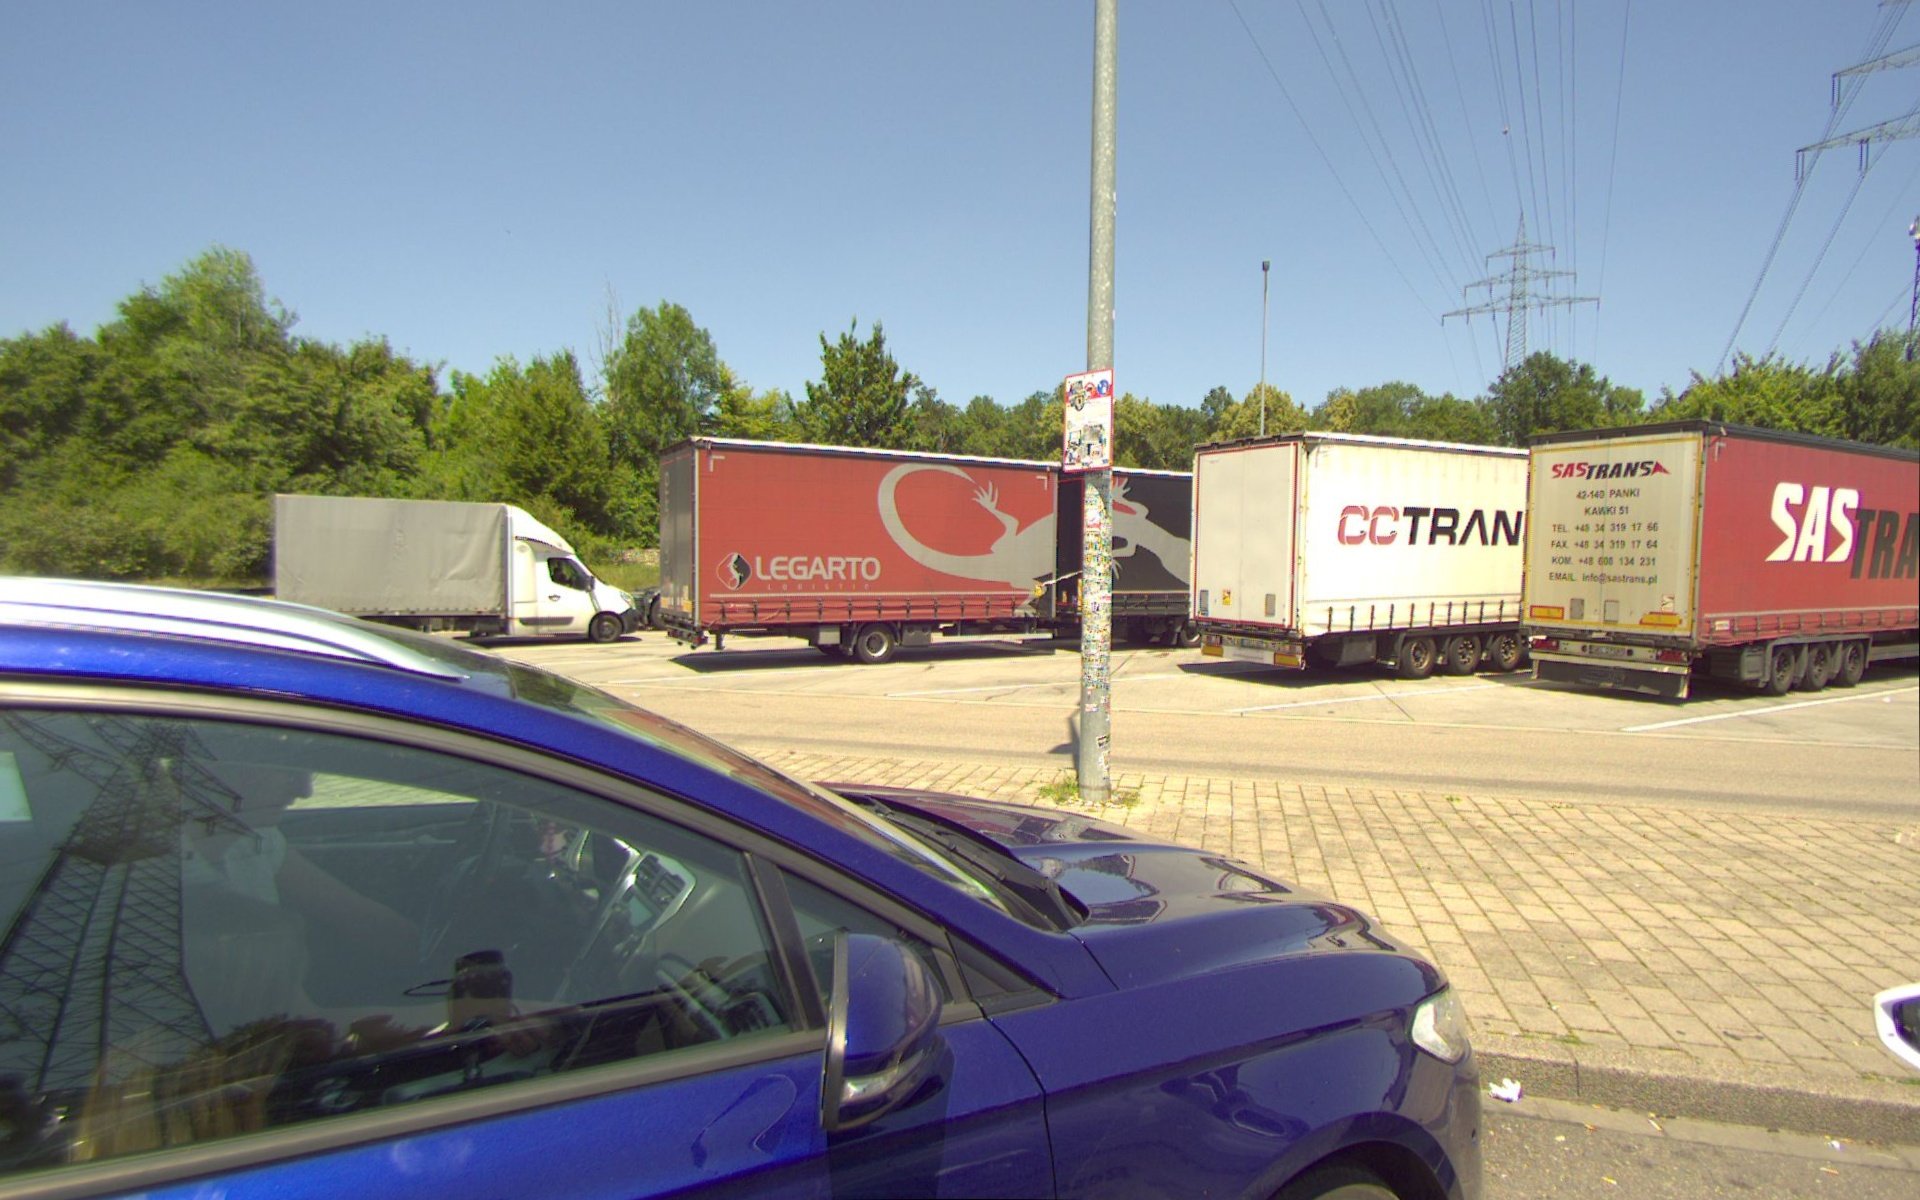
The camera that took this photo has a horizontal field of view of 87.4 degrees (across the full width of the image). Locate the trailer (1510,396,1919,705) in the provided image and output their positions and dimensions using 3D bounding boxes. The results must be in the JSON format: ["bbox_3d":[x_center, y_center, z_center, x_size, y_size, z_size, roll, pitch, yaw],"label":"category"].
[{"bbox_3d":[15.266,-0.651,18.423,13.046,4.276,2.786,0,0,-31],"label":"trailer"}]

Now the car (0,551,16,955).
[{"bbox_3d":[-4.338,0.511,2.188,3.077,1.378,1.334,1,0,-30],"label":"car"}]

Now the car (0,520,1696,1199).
[{"bbox_3d":[-0.975,0.661,1.472,4.362,1.437,1.731,1,0,-30],"label":"car"}]

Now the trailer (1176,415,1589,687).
[{"bbox_3d":[8.078,-0.758,18.800,8.189,4.208,2.741,0,1,-30],"label":"trailer"}]

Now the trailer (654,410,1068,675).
[{"bbox_3d":[-1.817,-0.964,20.261,7.963,4.510,2.648,0,0,-31],"label":"trailer"}]

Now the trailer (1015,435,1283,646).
[{"bbox_3d":[4.583,-1.257,24.101,6.076,4.505,2.665,0,0,-30],"label":"trailer"}]

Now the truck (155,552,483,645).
[{"bbox_3d":[-15.355,-0.032,24.585,6.538,2.040,1.984,0,0,-30],"label":"truck"}]

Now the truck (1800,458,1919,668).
[{"bbox_3d":[21.450,-0.729,22.057,5.824,4.189,2.792,0,0,-30],"label":"truck"}]

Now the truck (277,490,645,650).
[{"bbox_3d":[-11.065,-0.592,22.805,7.171,3.194,2.160,0,1,-30],"label":"truck"}]
